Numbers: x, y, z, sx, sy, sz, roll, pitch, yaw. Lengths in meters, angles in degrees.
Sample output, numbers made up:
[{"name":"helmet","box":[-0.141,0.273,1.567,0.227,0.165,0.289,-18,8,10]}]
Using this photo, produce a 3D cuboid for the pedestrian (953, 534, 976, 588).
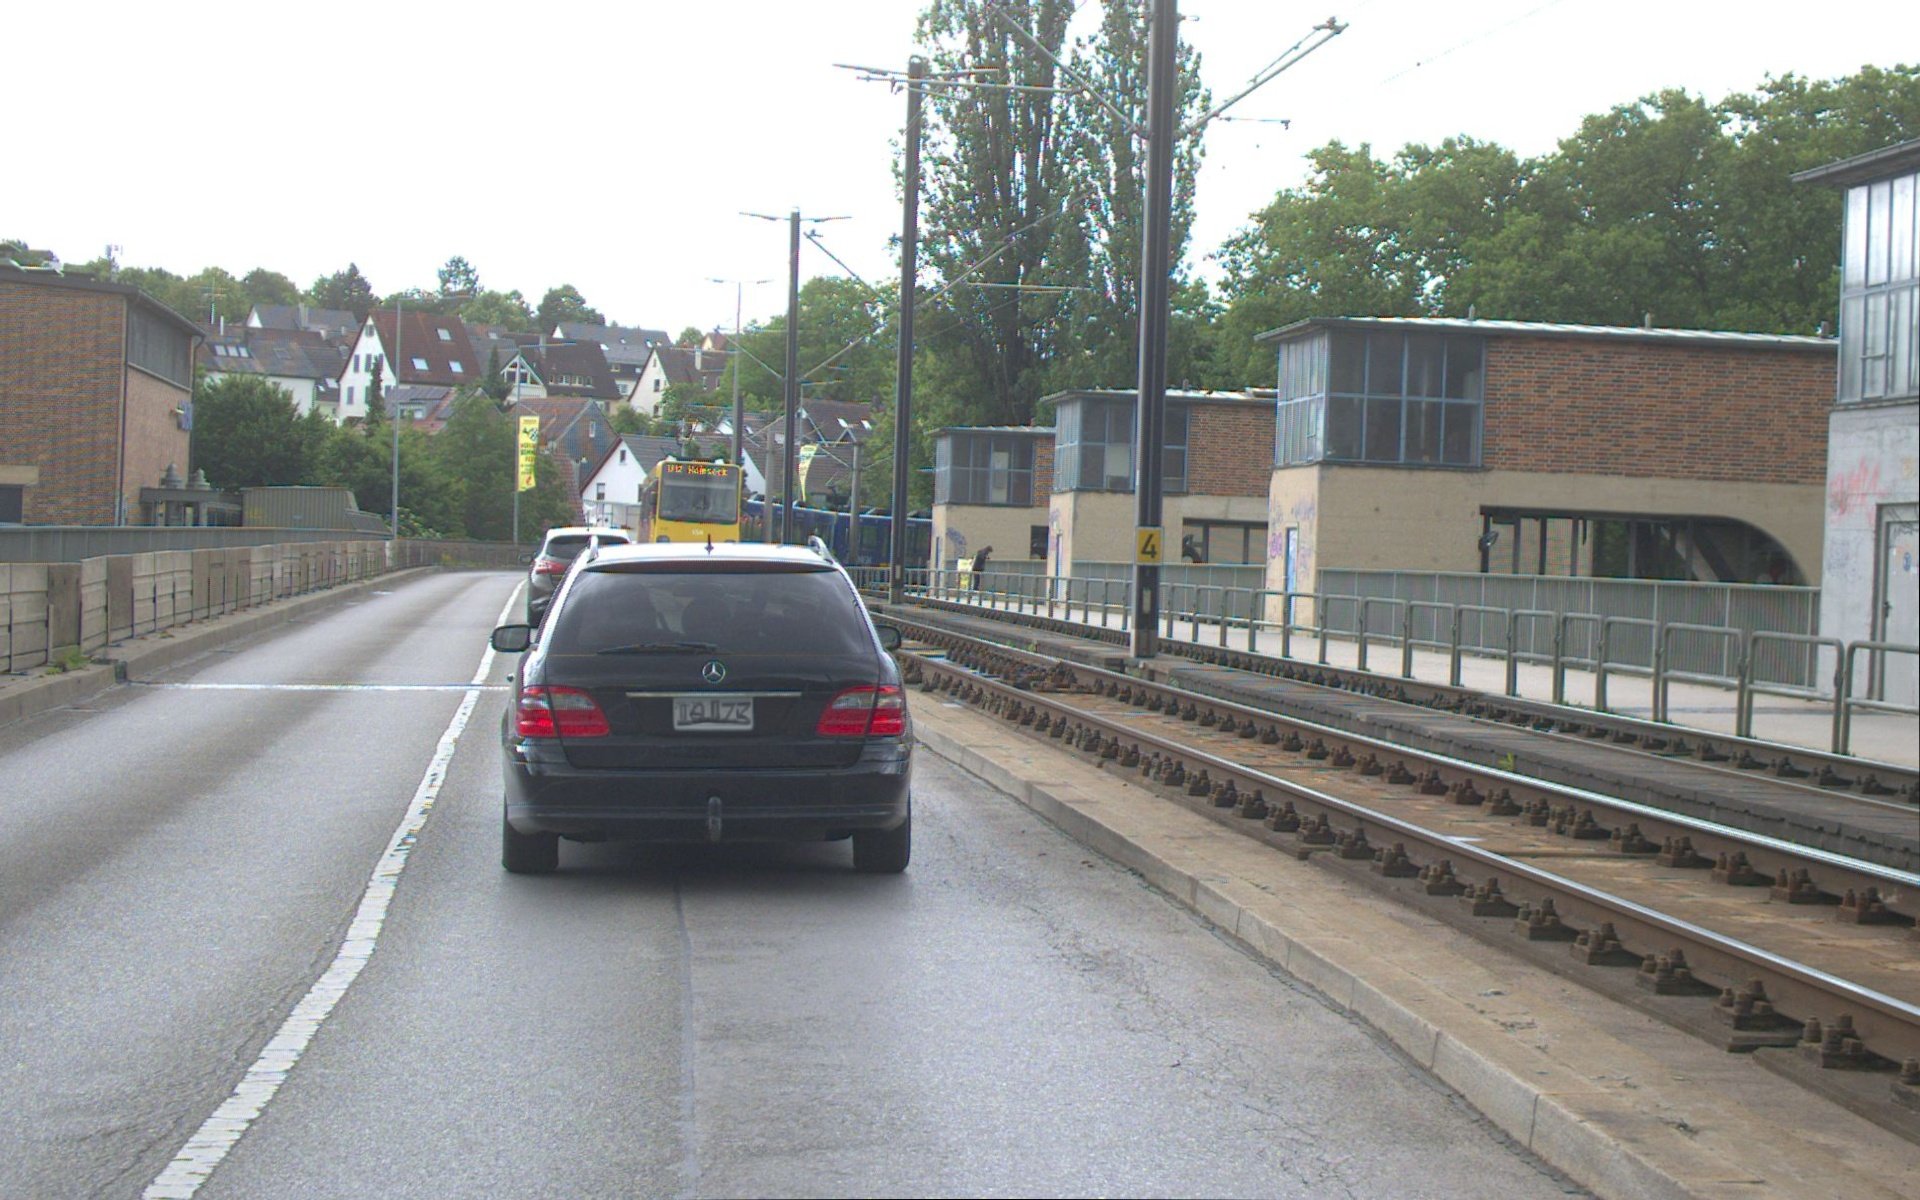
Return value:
[{"name":"pedestrian","box":[0.144,-1.174,103.104,0.577,1.604,0.613,2,1,-6]}]

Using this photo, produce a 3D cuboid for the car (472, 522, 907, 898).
[{"name":"car","box":[-1.305,0.407,16.304,1.758,1.510,4.443,1,1,-5]}]

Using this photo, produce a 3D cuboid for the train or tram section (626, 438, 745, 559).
[{"name":"train or tram section","box":[-8.886,-3.207,109.300,2.882,3.497,18.672,0,2,-7]}]

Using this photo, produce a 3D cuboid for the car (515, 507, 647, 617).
[{"name":"car","box":[-5.847,-0.612,52.663,1.770,1.550,4.242,2,2,-9]}]

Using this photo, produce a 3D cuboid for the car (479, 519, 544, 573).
[{"name":"car","box":[-14.594,-1.782,111.940,1.993,1.565,4.907,3,2,-7]}]
